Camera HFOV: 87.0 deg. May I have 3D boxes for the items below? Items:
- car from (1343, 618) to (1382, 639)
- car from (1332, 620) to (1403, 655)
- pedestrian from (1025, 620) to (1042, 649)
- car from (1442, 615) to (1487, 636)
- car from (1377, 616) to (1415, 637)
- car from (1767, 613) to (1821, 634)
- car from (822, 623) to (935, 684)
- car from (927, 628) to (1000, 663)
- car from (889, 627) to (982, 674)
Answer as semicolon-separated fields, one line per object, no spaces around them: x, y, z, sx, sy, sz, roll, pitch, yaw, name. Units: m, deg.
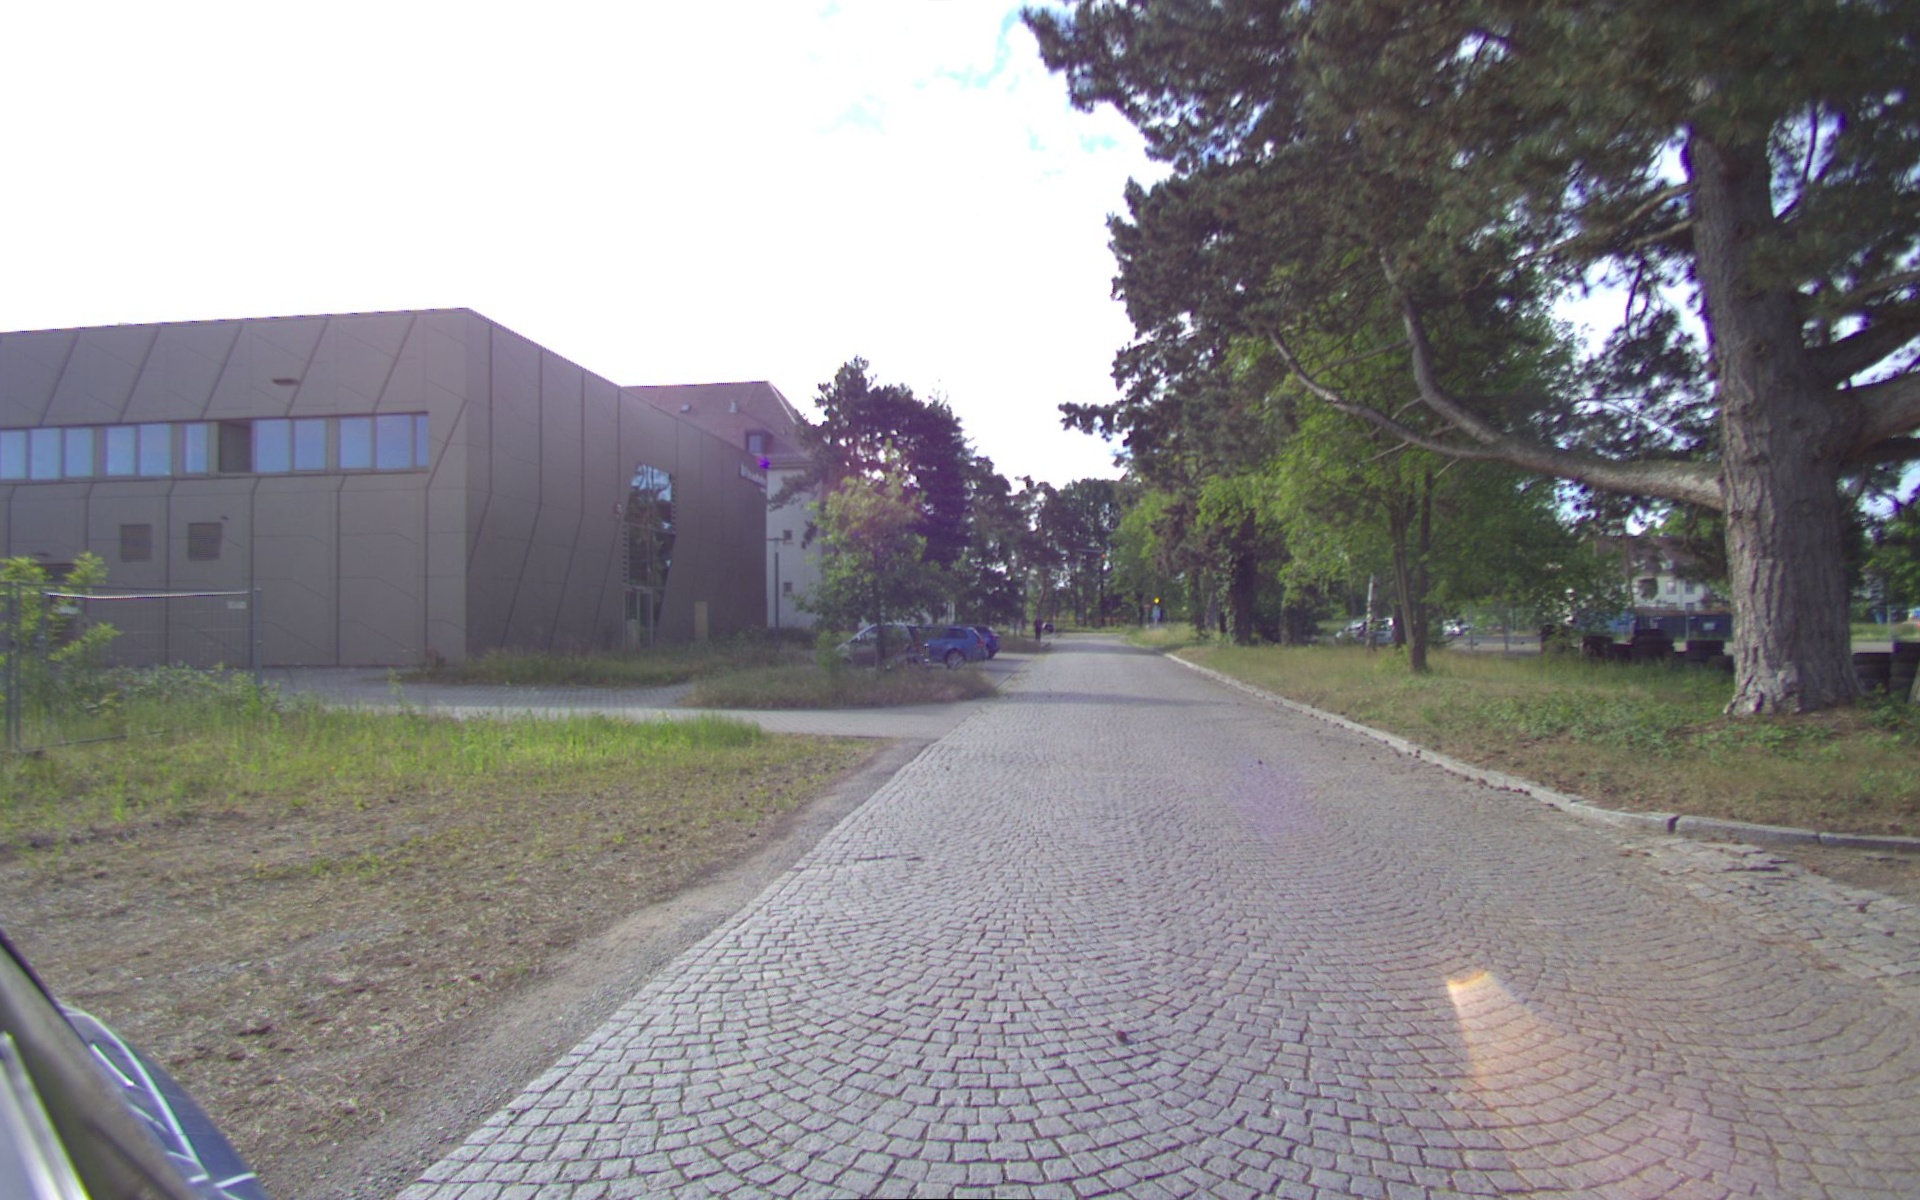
32.528;2.281;81.928;1.976;1.630;3.991;-1;-2;7;car
18.510;1.684;46.155;1.869;1.553;3.993;-1;-1;5;car
4.830;2.248;66.340;0.944;1.858;0.957;0;-2;-7;pedestrian
40.642;2.096;81.660;1.976;1.630;3.991;-1;-2;7;car
35.205;2.140;81.819;1.806;1.630;3.988;-1;-2;9;car
72.639;2.033;88.206;1.979;1.763;3.985;-1;-2;12;car
-2.173;1.420;27.101;2.740;1.561;1.420;-1;-2;11;car
0.168;1.941;43.516;3.051;1.461;1.491;-1;-2;2;car
-0.795;1.694;34.220;3.053;1.468;1.491;2;-2;3;car
